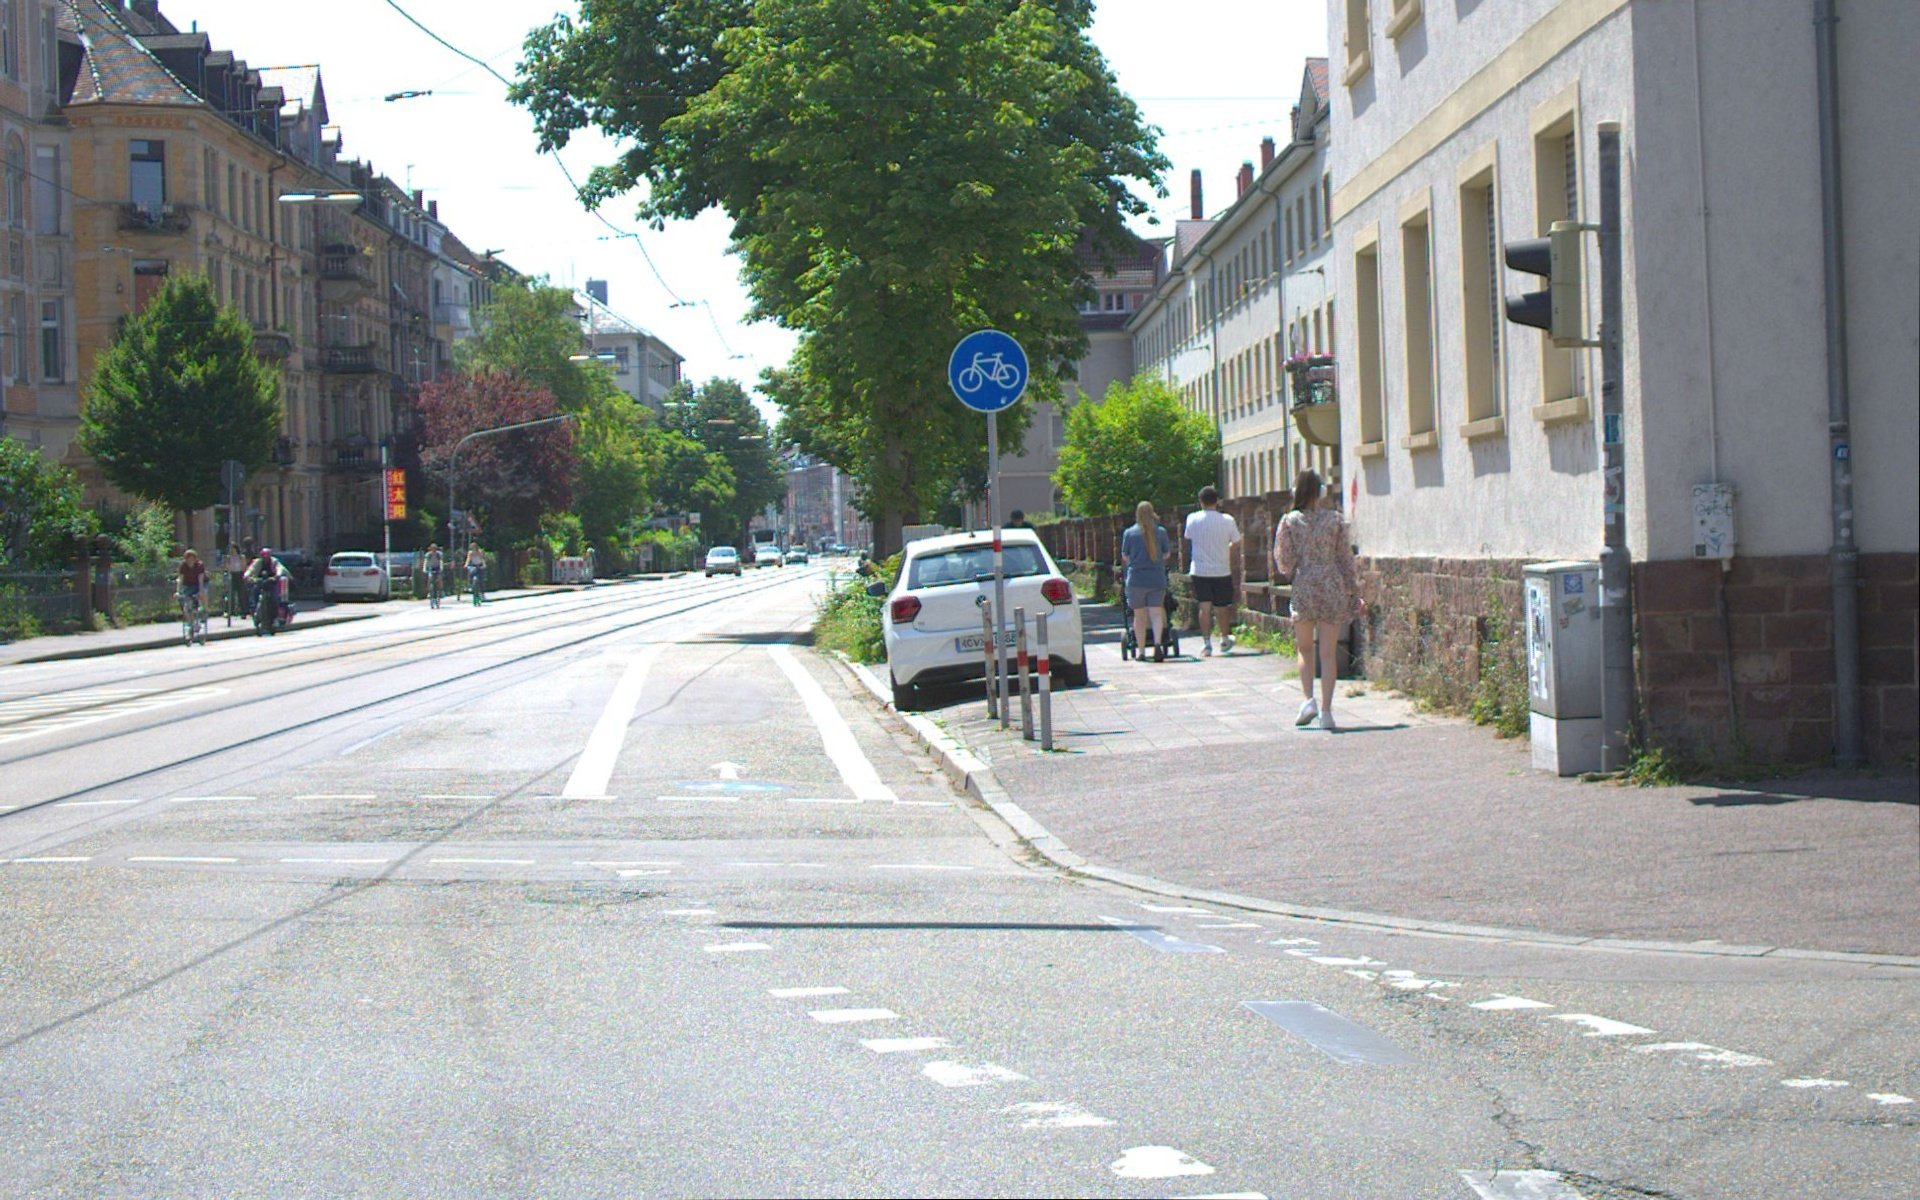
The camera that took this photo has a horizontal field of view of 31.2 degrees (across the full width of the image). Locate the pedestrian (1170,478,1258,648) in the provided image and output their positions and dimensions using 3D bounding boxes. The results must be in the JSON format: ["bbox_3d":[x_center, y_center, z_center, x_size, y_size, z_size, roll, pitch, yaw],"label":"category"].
[{"bbox_3d":[2.579,-0.379,34.971,0.697,1.664,0.756,-4,1,-1],"label":"pedestrian"}]

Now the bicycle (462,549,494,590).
[{"bbox_3d":[-13.276,-0.836,94.729,0.581,1.074,1.891,-3,1,-1],"label":"bicycle"}]

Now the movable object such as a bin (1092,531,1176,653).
[{"bbox_3d":[1.787,-0.093,35.478,0.697,1.182,1.036,-4,1,-2],"label":"movable object such as a bin"}]

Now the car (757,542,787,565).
[{"bbox_3d":[-12.620,-3.142,230.968,1.756,1.419,4.000,-2,1,0],"label":"car"}]

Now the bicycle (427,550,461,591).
[{"bbox_3d":[-14.214,-0.822,94.673,0.629,1.074,1.875,-3,1,-1],"label":"bicycle"}]

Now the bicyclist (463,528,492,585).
[{"bbox_3d":[-13.298,-1.198,94.739,0.592,1.539,0.952,-3,1,-1],"label":"bicyclist"}]

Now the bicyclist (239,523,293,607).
[{"bbox_3d":[-13.654,-0.694,67.683,0.807,1.624,0.980,-2,1,0],"label":"bicyclist"}]

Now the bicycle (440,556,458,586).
[{"bbox_3d":[-17.552,-0.998,118.212,0.454,1.000,1.807,-1,1,-4],"label":"bicycle"}]

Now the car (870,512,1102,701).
[{"bbox_3d":[0.166,0.011,30.941,1.777,1.405,4.157,-6,1,-2],"label":"car"}]

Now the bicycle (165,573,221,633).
[{"bbox_3d":[-13.778,0.046,61.786,0.567,1.034,1.829,-2,1,0],"label":"bicycle"}]

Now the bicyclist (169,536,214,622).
[{"bbox_3d":[-13.794,-0.383,61.748,0.562,1.510,0.892,-2,1,0],"label":"bicyclist"}]

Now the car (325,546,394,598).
[{"bbox_3d":[-19.050,-0.904,109.143,1.865,1.594,4.103,0,1,-6],"label":"car"}]

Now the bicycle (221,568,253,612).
[{"bbox_3d":[-17.047,-0.241,81.073,0.438,0.980,1.711,-1,1,-2],"label":"bicycle"}]

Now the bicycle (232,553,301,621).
[{"bbox_3d":[-13.635,-0.276,67.693,0.807,1.267,2.551,-2,1,0],"label":"bicycle"}]

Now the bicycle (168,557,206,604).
[{"bbox_3d":[-17.063,-0.430,75.924,0.496,0.984,1.711,2,1,-2],"label":"bicycle"}]

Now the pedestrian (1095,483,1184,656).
[{"bbox_3d":[1.797,-0.308,34.514,0.697,1.664,0.869,-4,1,-2],"label":"pedestrian"}]

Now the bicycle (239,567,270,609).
[{"bbox_3d":[-17.062,-0.302,83.114,0.438,0.980,1.711,-1,1,-2],"label":"bicycle"}]

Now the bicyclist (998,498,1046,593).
[{"bbox_3d":[0.973,-0.858,53.787,0.711,1.447,1.010,-2,1,1],"label":"bicyclist"}]

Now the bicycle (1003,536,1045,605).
[{"bbox_3d":[1.009,-0.471,53.885,0.602,1.047,1.823,-2,1,1],"label":"bicycle"}]

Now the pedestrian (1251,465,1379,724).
[{"bbox_3d":[2.333,-0.043,22.676,0.697,1.664,0.756,-2,1,-2],"label":"pedestrian"}]

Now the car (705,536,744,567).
[{"bbox_3d":[-11.786,-2.448,172.349,1.684,1.444,4.000,-2,1,-1],"label":"car"}]

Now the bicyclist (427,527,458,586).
[{"bbox_3d":[-14.233,-1.203,94.563,0.634,1.579,1.028,-3,1,-1],"label":"bicyclist"}]

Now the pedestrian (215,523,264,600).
[{"bbox_3d":[-16.437,-0.879,78.430,0.851,1.717,1.139,1,1,0],"label":"pedestrian"}]
